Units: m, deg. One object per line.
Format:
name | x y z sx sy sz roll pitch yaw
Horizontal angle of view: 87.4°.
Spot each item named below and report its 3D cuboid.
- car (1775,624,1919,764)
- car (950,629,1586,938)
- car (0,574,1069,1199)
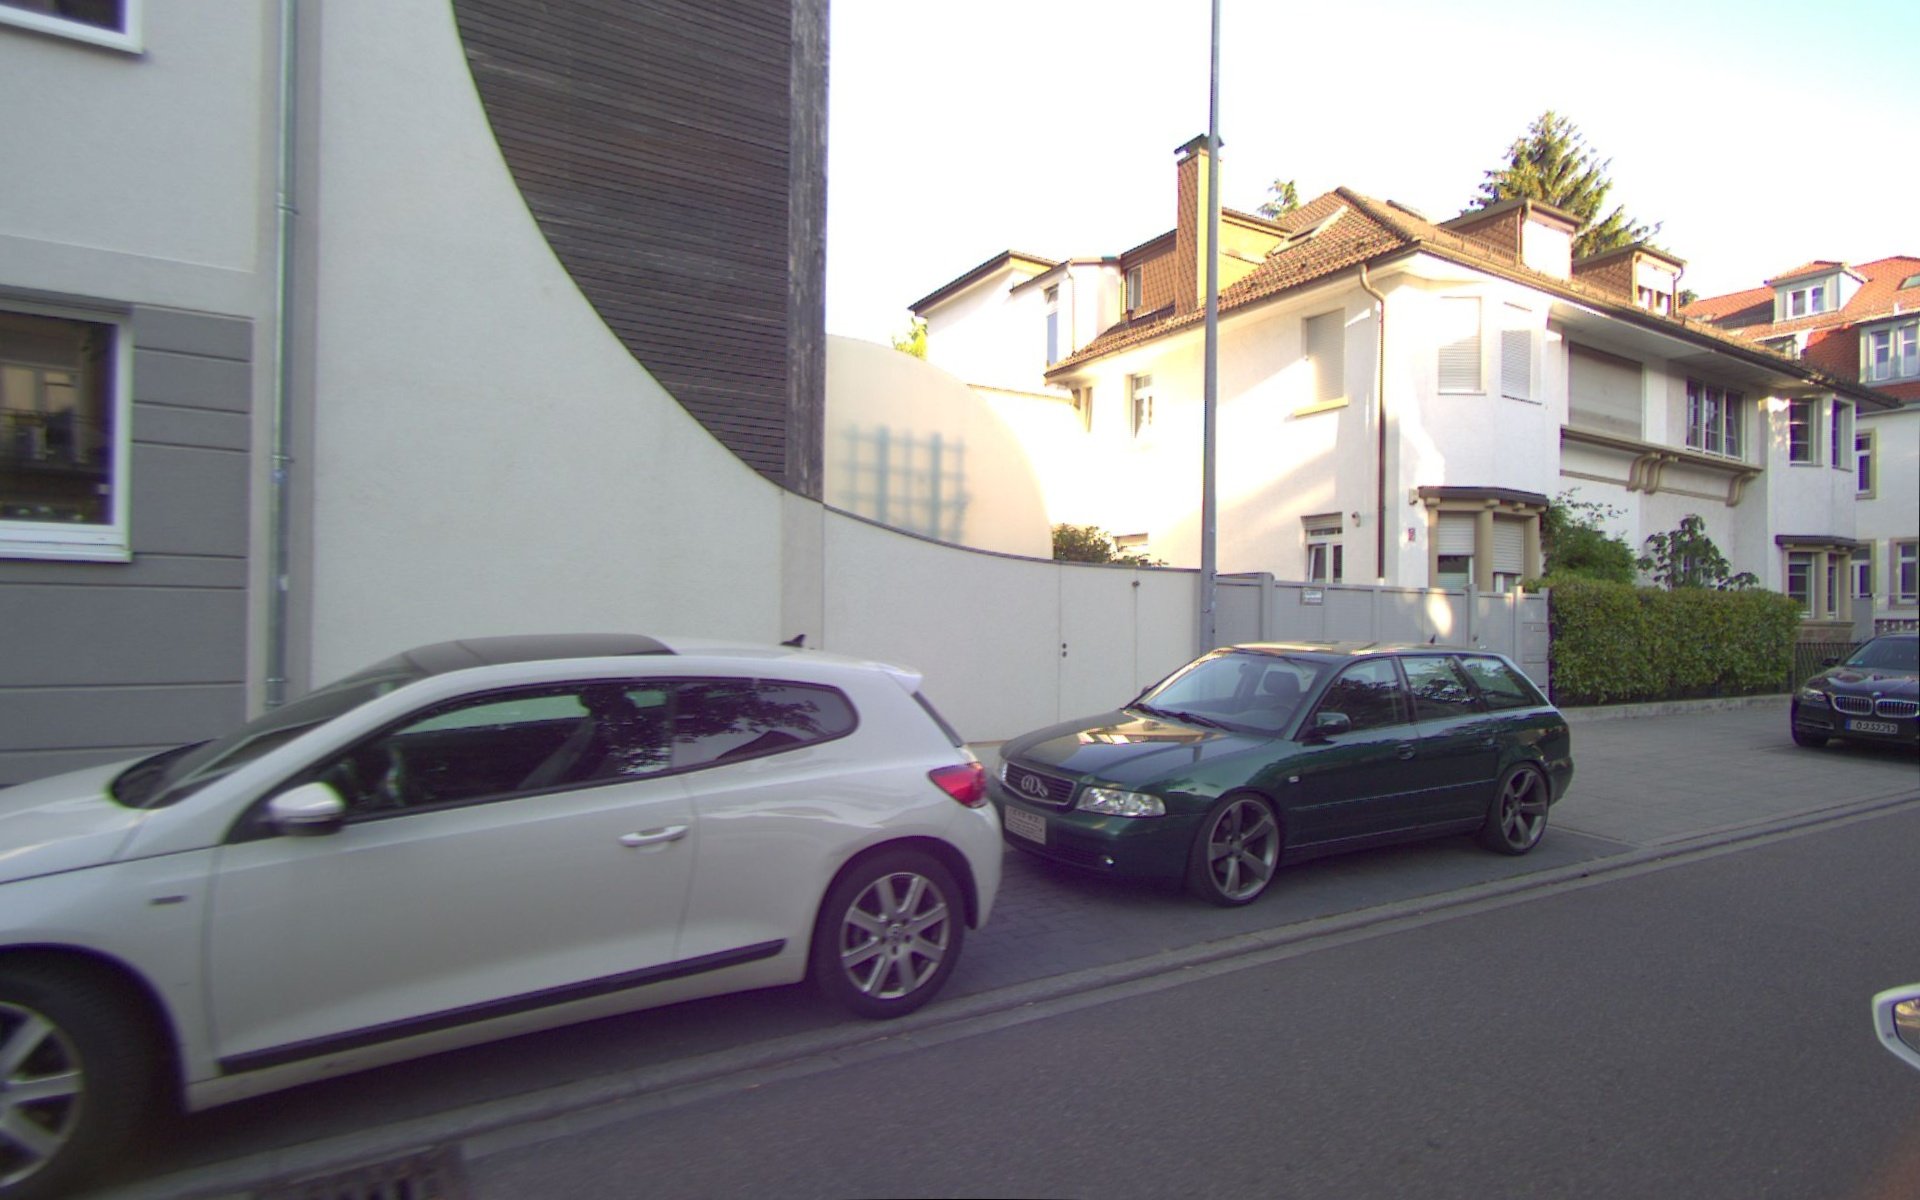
car | 12.263 1.100 12.658 4.606 1.517 1.843 2 -1 -34
car | 2.140 0.956 6.665 4.094 1.466 1.749 2 -1 -31
car | -1.741 0.783 3.834 4.047 1.612 1.873 1 -1 -33
